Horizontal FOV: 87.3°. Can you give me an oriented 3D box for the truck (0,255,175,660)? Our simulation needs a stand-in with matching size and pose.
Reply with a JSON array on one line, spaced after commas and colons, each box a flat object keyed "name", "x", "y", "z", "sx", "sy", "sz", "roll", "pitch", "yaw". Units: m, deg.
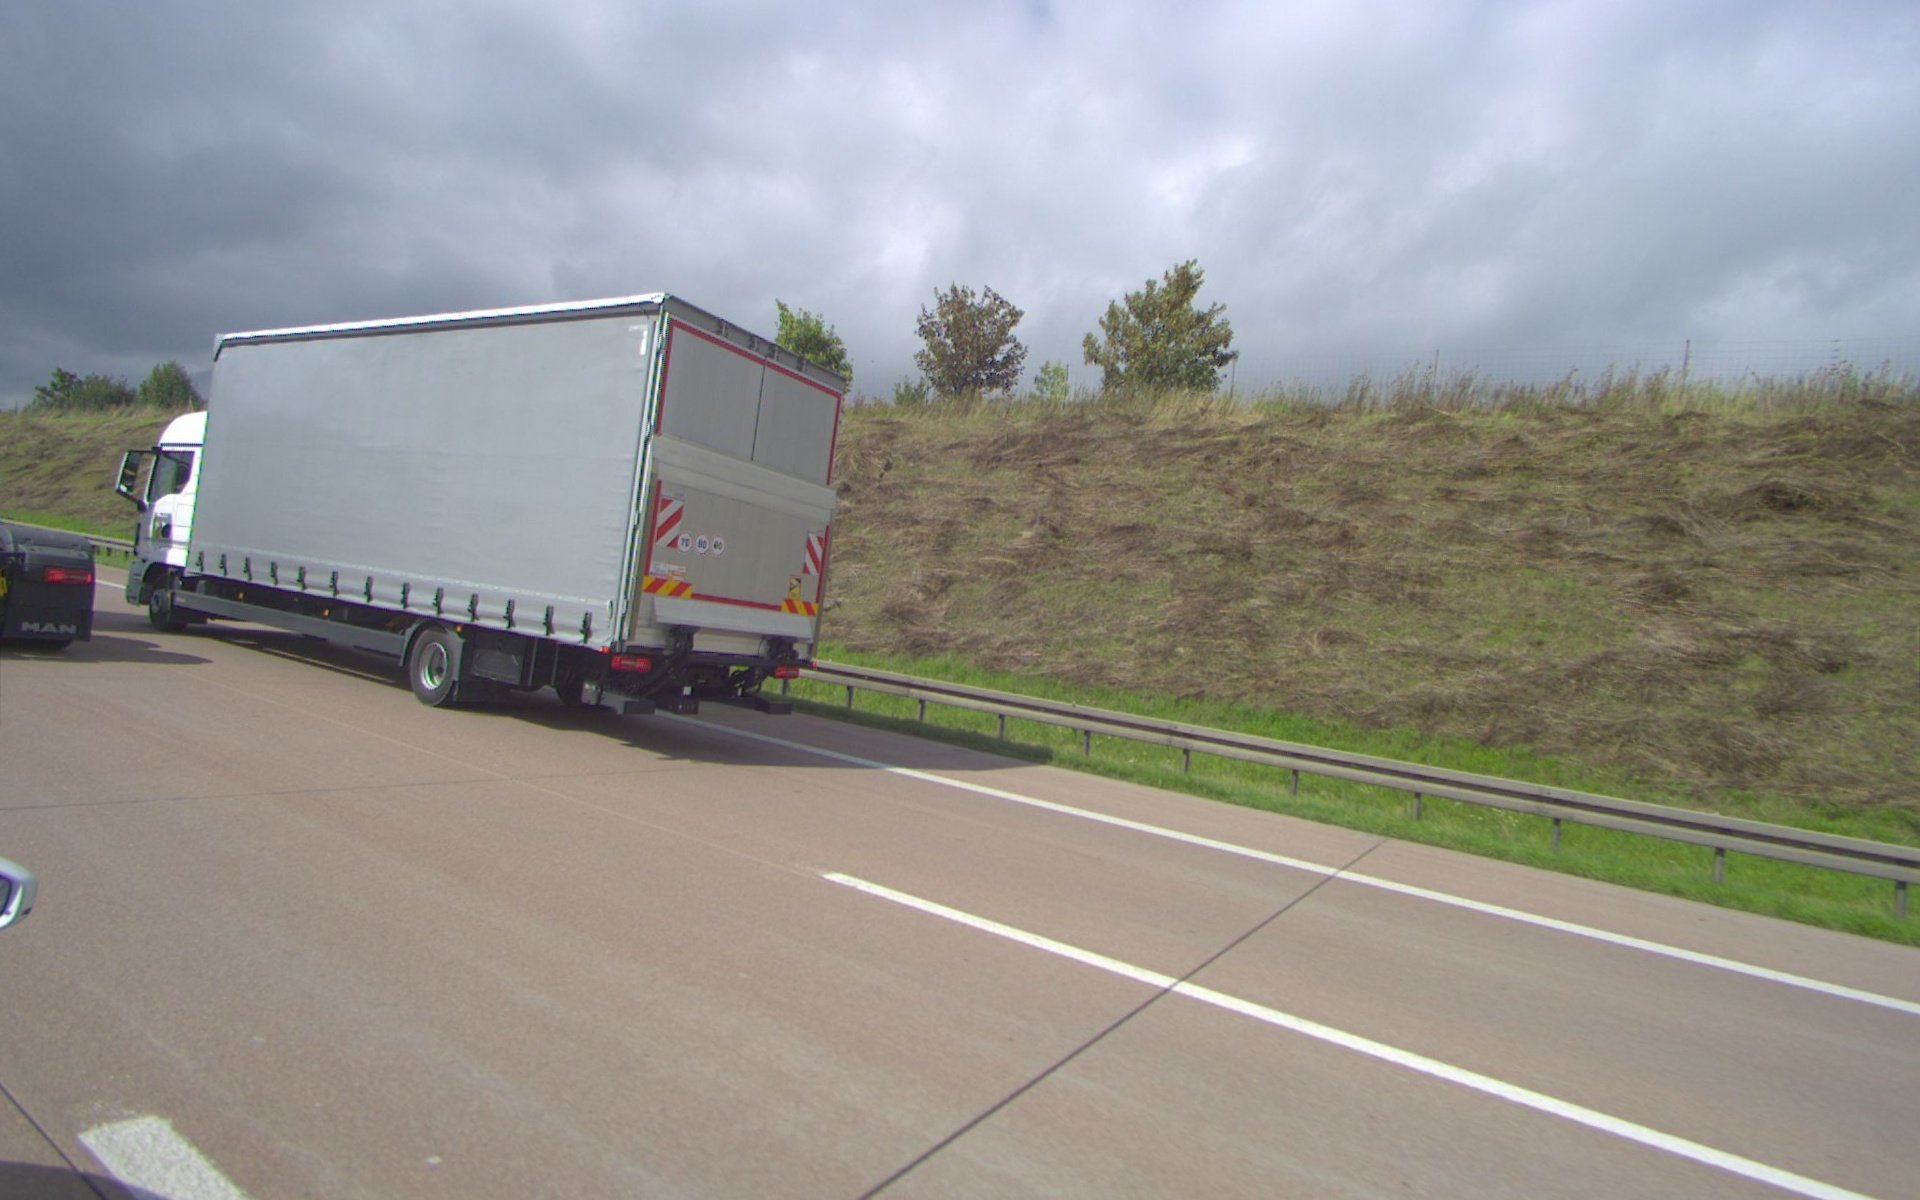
[{"name": "truck", "x": -12.346, "y": -1.706, "z": 11.010, "sx": 8.180, "sy": 3.591, "sz": 2.853, "roll": 6, "pitch": -1, "yaw": 31}]

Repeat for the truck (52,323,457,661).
[{"name": "truck", "x": -10.030, "y": -1.436, "z": 14.325, "sx": 4.469, "sy": 3.937, "sz": 2.754, "roll": 7, "pitch": -1, "yaw": 30}]

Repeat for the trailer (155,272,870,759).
[{"name": "trailer", "x": -5.532, "y": -0.980, "z": 11.668, "sx": 8.524, "sy": 4.059, "sz": 2.753, "roll": 6, "pitch": -1, "yaw": 31}]
